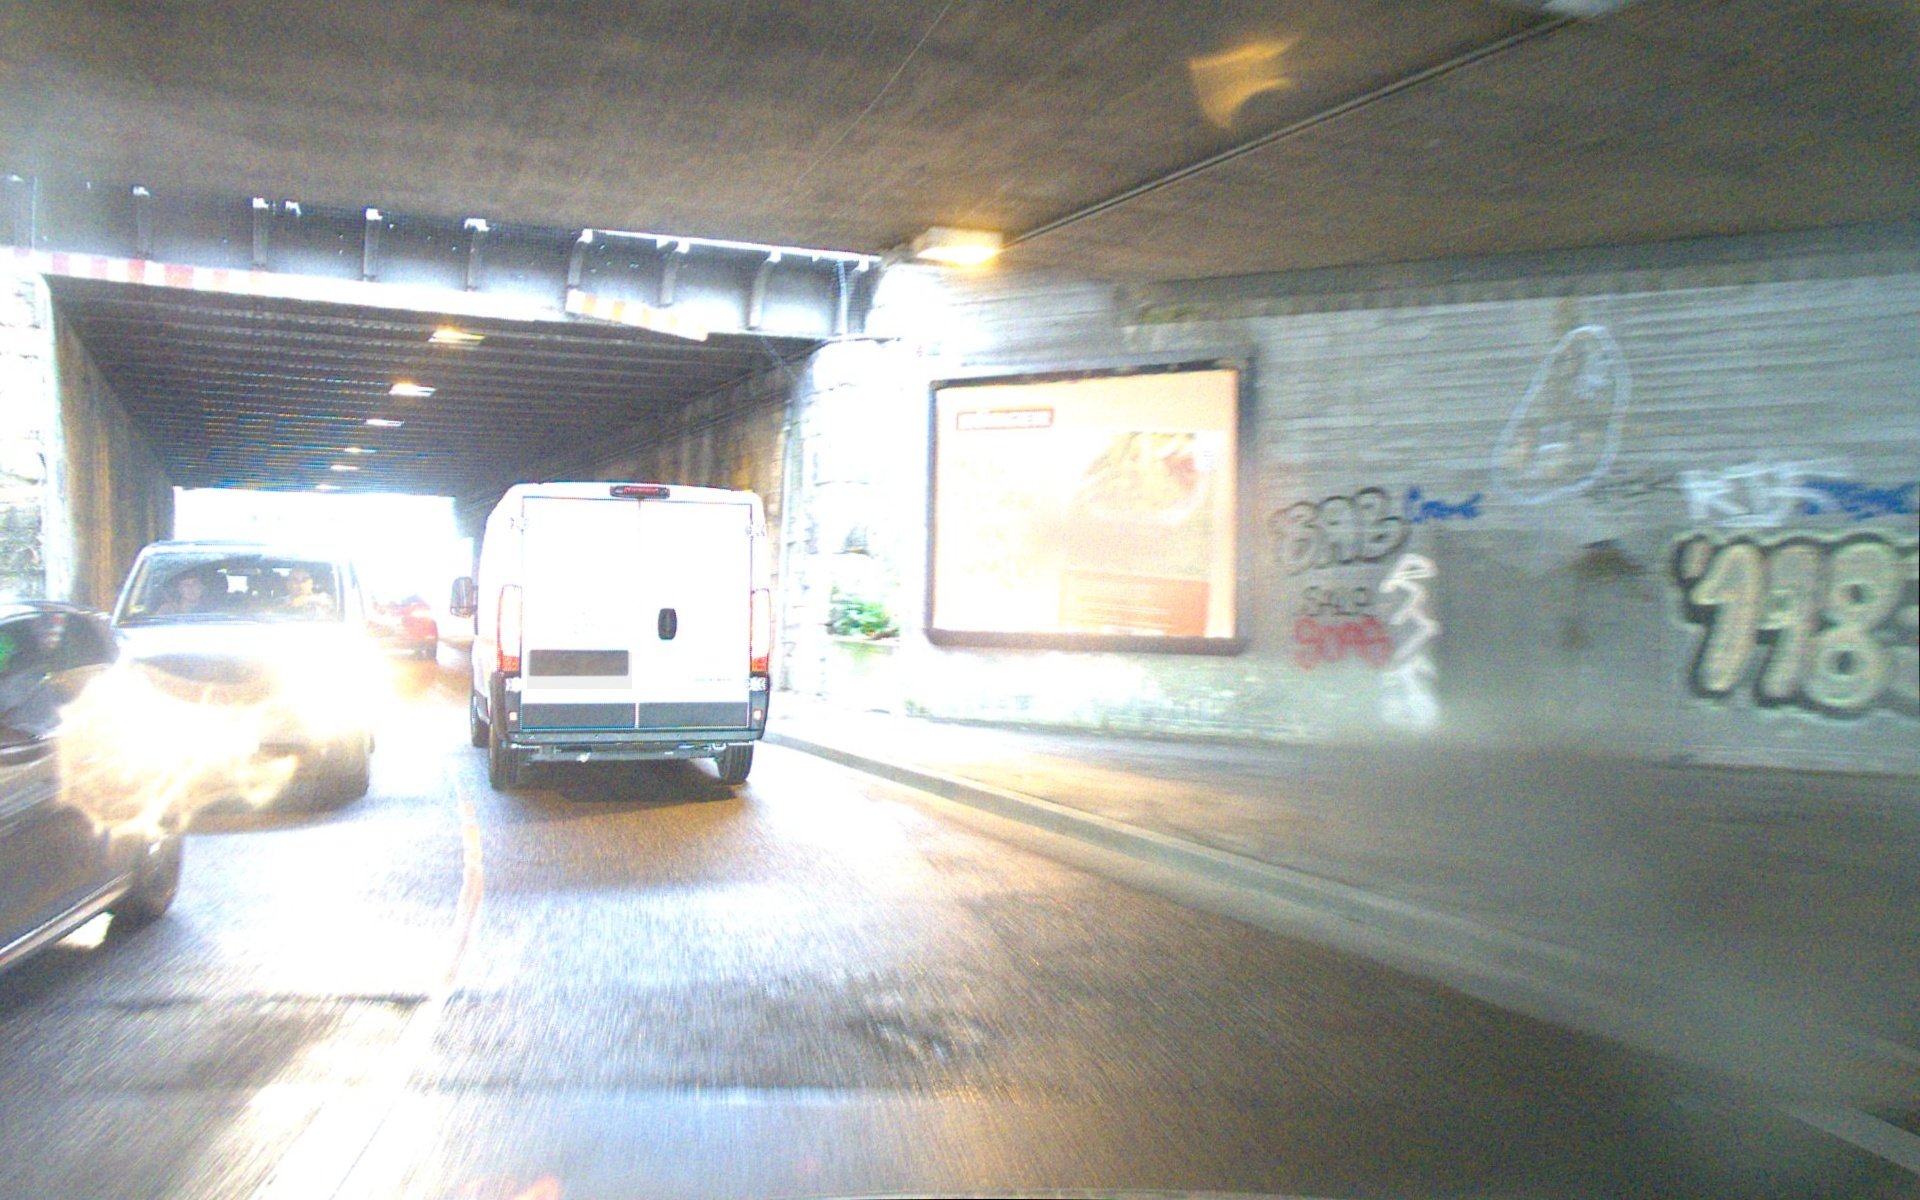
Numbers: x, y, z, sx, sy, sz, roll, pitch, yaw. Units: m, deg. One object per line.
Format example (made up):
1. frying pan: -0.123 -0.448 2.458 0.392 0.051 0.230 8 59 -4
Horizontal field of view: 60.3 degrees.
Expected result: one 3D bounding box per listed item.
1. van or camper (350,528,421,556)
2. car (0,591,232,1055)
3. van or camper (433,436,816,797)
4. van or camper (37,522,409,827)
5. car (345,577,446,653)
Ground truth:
1. van or camper: -45.324 -4.563 130.530 5.227 2.049 2.067 0 1 -19
2. car: -4.161 0.728 5.800 1.957 1.490 4.096 -1 0 -9
3. van or camper: -3.064 0.149 14.025 2.657 2.459 4.877 0 -1 -18
4. van or camper: -5.520 0.450 13.080 1.961 1.901 5.116 -1 0 -16
5. car: -11.740 0.267 34.259 1.810 1.463 4.076 0 1 -22
